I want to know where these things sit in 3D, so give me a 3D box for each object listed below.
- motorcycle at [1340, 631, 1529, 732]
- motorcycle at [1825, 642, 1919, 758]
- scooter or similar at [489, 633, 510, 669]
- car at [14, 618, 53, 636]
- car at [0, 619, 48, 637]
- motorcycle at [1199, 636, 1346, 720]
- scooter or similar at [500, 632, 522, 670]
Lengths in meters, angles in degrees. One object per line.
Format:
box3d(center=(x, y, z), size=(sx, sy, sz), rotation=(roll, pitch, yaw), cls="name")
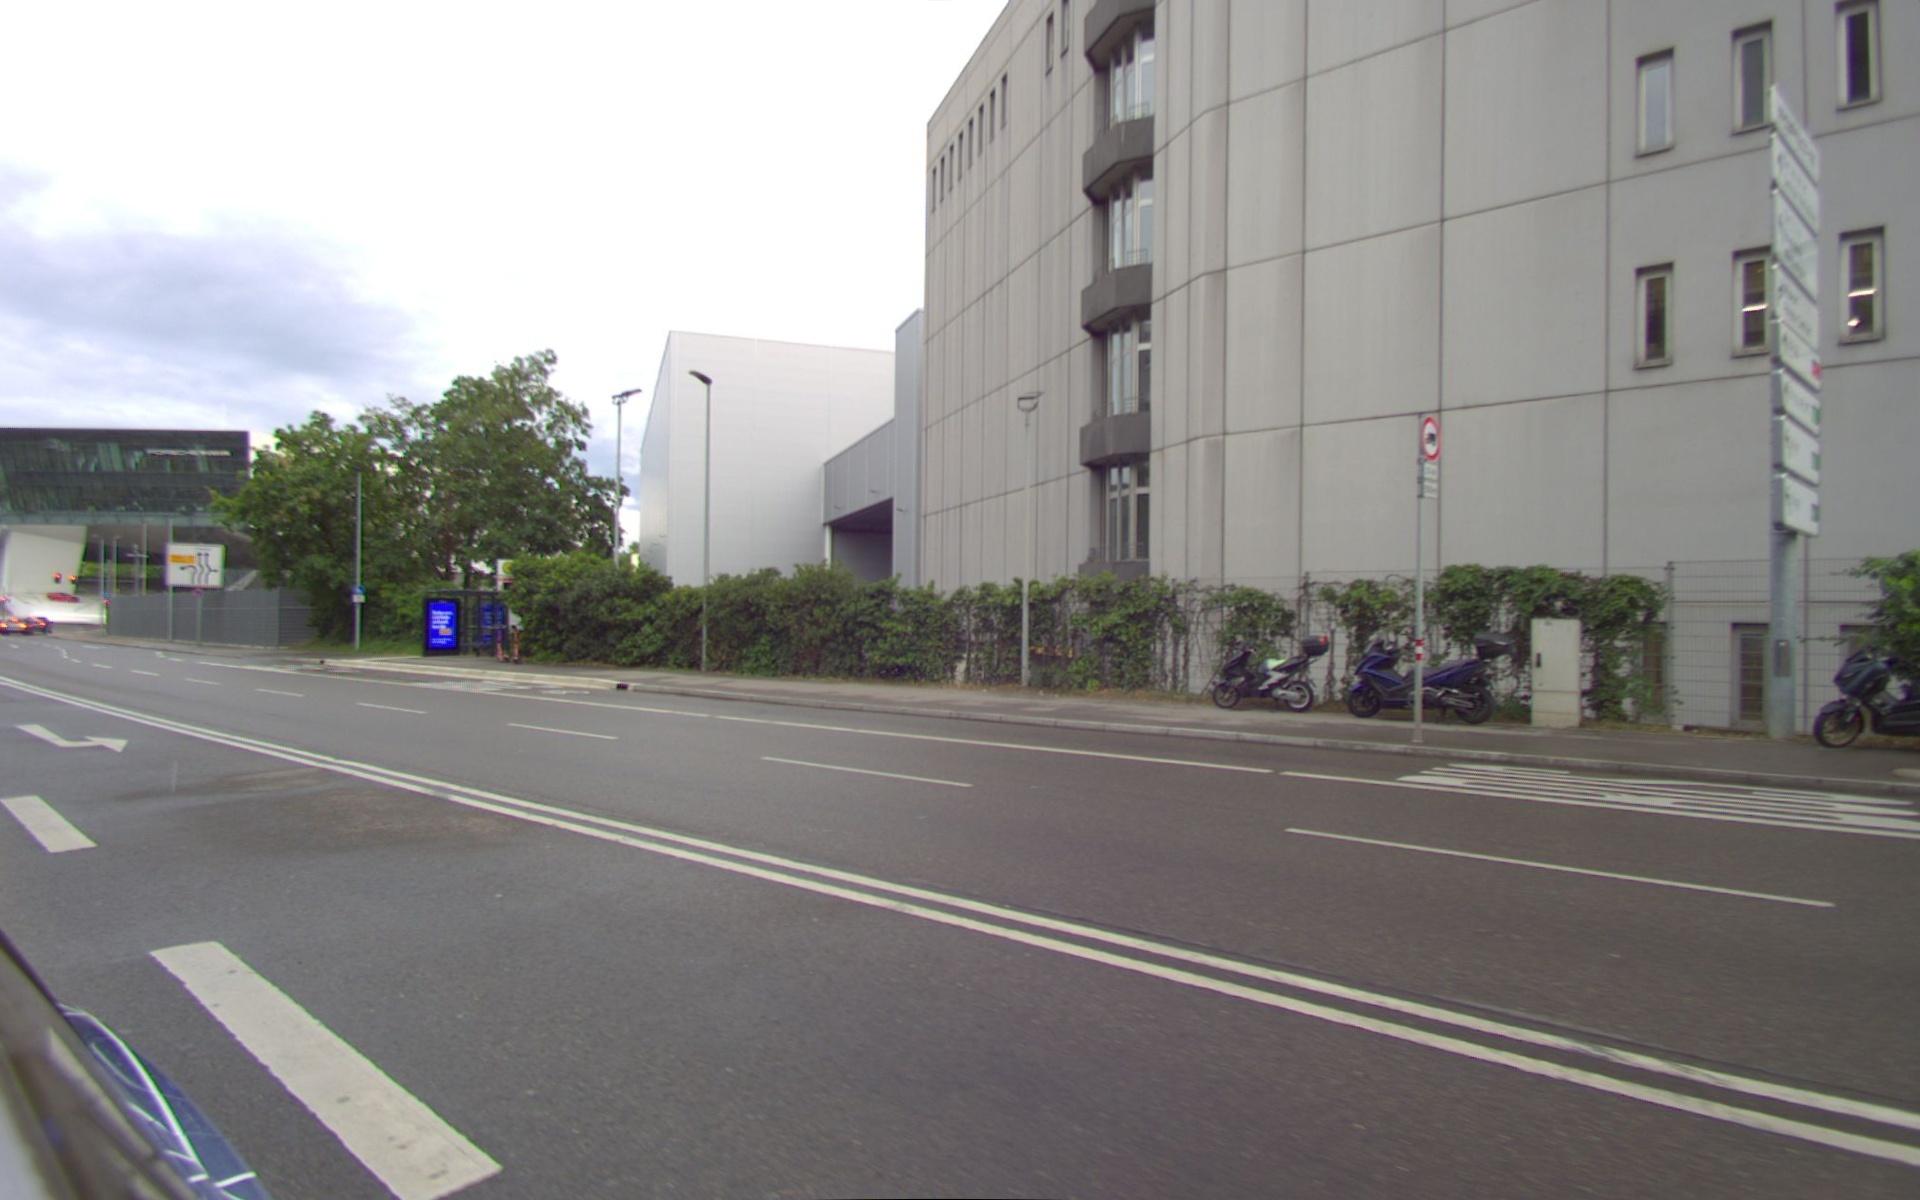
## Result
box3d(center=(6.877, 1.138, 14.768), size=(2.368, 1.358, 0.776), rotation=(-1, -2, 41), cls="motorcycle")
box3d(center=(11.074, 1.112, 11.266), size=(2.156, 1.257, 0.776), rotation=(-1, -2, 41), cls="motorcycle")
box3d(center=(-15.481, 1.701, 34.002), size=(0.383, 1.189, 1.253), rotation=(1, -2, -36), cls="scooter or similar")
box3d(center=(-83.714, 2.434, 91.506), size=(1.834, 1.663, 3.799), rotation=(1, -2, -30), cls="car")
box3d(center=(-79.317, 2.391, 85.792), size=(2.233, 1.488, 4.059), rotation=(1, -1, -32), cls="car")
box3d(center=(5.065, 1.235, 16.504), size=(2.156, 1.260, 0.776), rotation=(-1, -2, 41), cls="motorcycle")
box3d(center=(-14.600, 1.657, 32.878), size=(0.373, 1.190, 1.381), rotation=(1, -2, -36), cls="scooter or similar")
